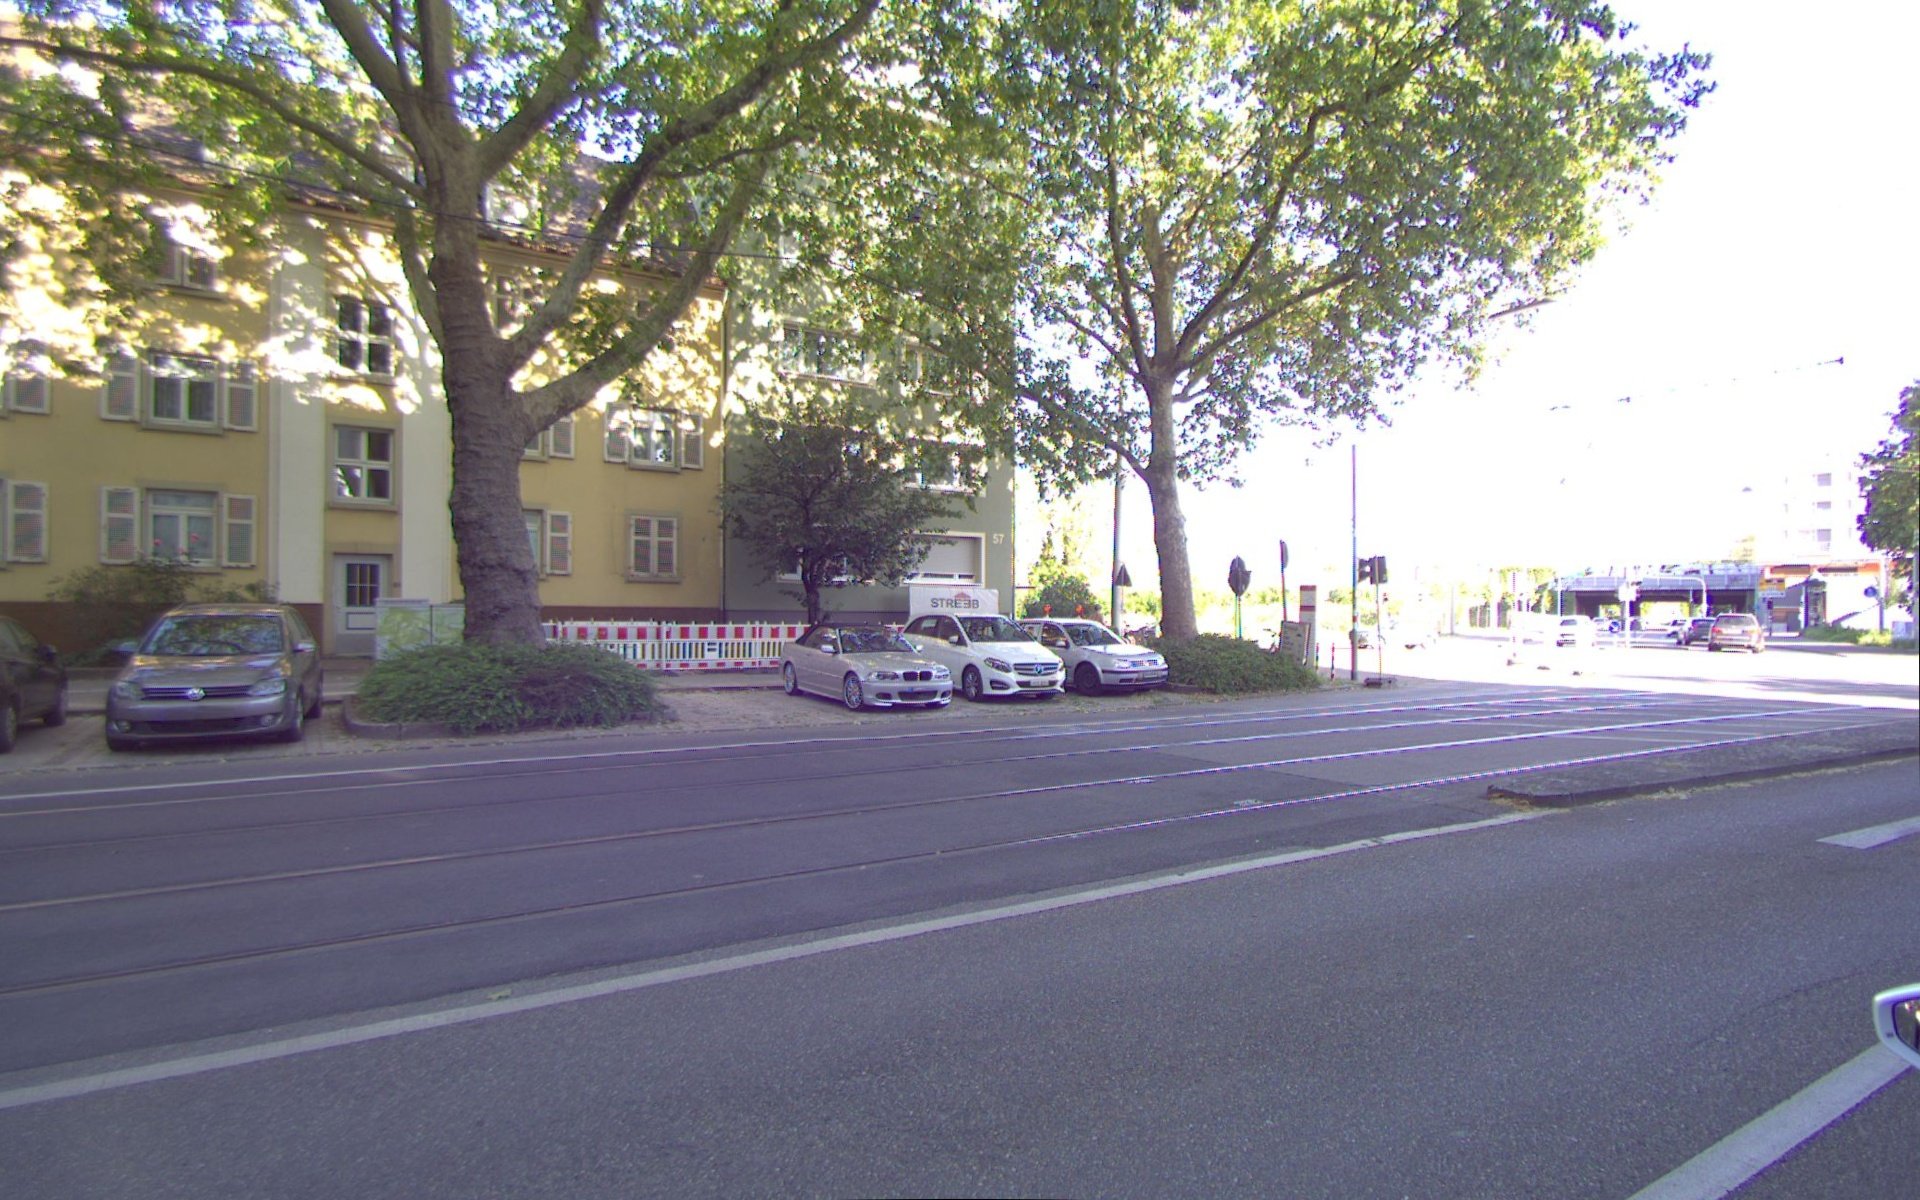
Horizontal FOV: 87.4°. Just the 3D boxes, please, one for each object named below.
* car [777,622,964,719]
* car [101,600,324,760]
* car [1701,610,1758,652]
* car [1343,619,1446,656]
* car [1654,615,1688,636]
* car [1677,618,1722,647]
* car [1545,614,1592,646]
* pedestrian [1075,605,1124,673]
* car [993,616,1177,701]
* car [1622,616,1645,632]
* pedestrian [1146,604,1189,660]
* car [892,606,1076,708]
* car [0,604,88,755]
[{"bbox_3d":[-1.653,1.110,17.309,1.651,1.370,3.949,1,0,-31],"label":"car"},{"bbox_3d":[-9.002,0.833,12.415,1.652,1.602,3.953,1,0,-29],"label":"car"},{"bbox_3d":[36.757,1.457,48.090,1.883,1.906,4.831,0,-1,34],"label":"car"},{"bbox_3d":[21.318,1.816,49.367,4.283,1.788,1.985,0,-1,-11],"label":"car"},{"bbox_3d":[55.334,1.965,78.243,1.964,1.572,4.185,2,0,33],"label":"car"},{"bbox_3d":[42.797,1.869,58.197,1.772,1.539,4.196,2,0,32],"label":"car"},{"bbox_3d":[33.485,1.630,55.222,1.860,1.606,3.823,2,0,37],"label":"car"},{"bbox_3d":[3.539,0.976,25.520,0.945,1.683,0.767,2,0,-34],"label":"pedestrian"},{"bbox_3d":[2.437,1.111,20.528,1.651,1.473,3.949,1,0,-31],"label":"car"},{"bbox_3d":[70.788,2.516,105.573,1.860,1.606,3.823,2,0,37],"label":"car"},{"bbox_3d":[6.371,0.975,30.818,0.919,1.669,0.841,2,0,-30],"label":"pedestrian"},{"bbox_3d":[0.347,0.984,19.153,1.651,1.669,3.949,1,0,-31],"label":"car"},{"bbox_3d":[-11.468,0.833,11.384,1.652,1.518,3.778,1,0,-29],"label":"car"}]
